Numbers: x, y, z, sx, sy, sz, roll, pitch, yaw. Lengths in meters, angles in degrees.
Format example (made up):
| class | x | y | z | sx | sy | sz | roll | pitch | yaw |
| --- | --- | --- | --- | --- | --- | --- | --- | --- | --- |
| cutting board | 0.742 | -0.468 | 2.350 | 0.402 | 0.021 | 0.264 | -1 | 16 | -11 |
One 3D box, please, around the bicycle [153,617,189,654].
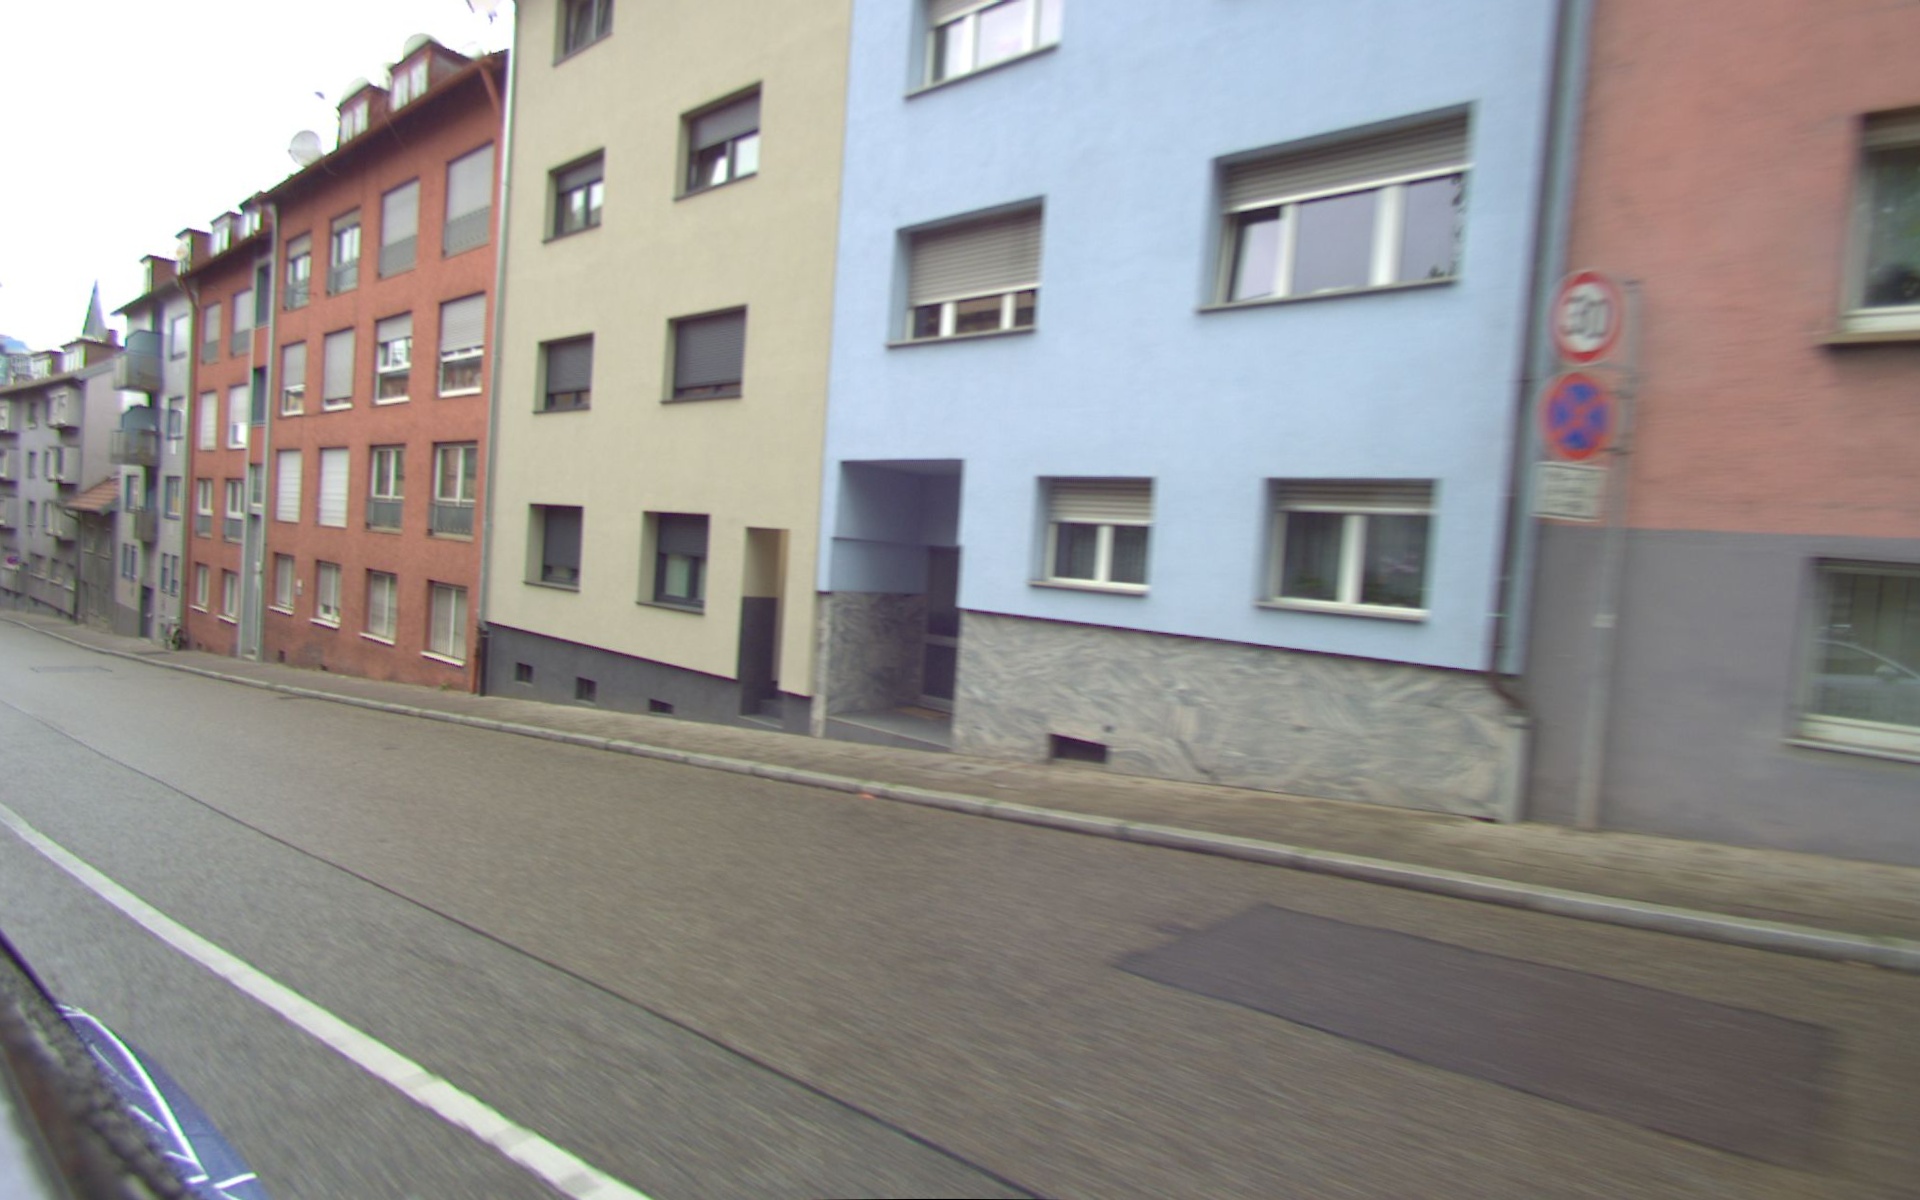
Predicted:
| class | x | y | z | sx | sy | sz | roll | pitch | yaw |
| --- | --- | --- | --- | --- | --- | --- | --- | --- | --- |
| bicycle | -26.183 | 1.156 | 33.563 | 2.039 | 1.125 | 0.565 | 1 | 2 | 42 |
